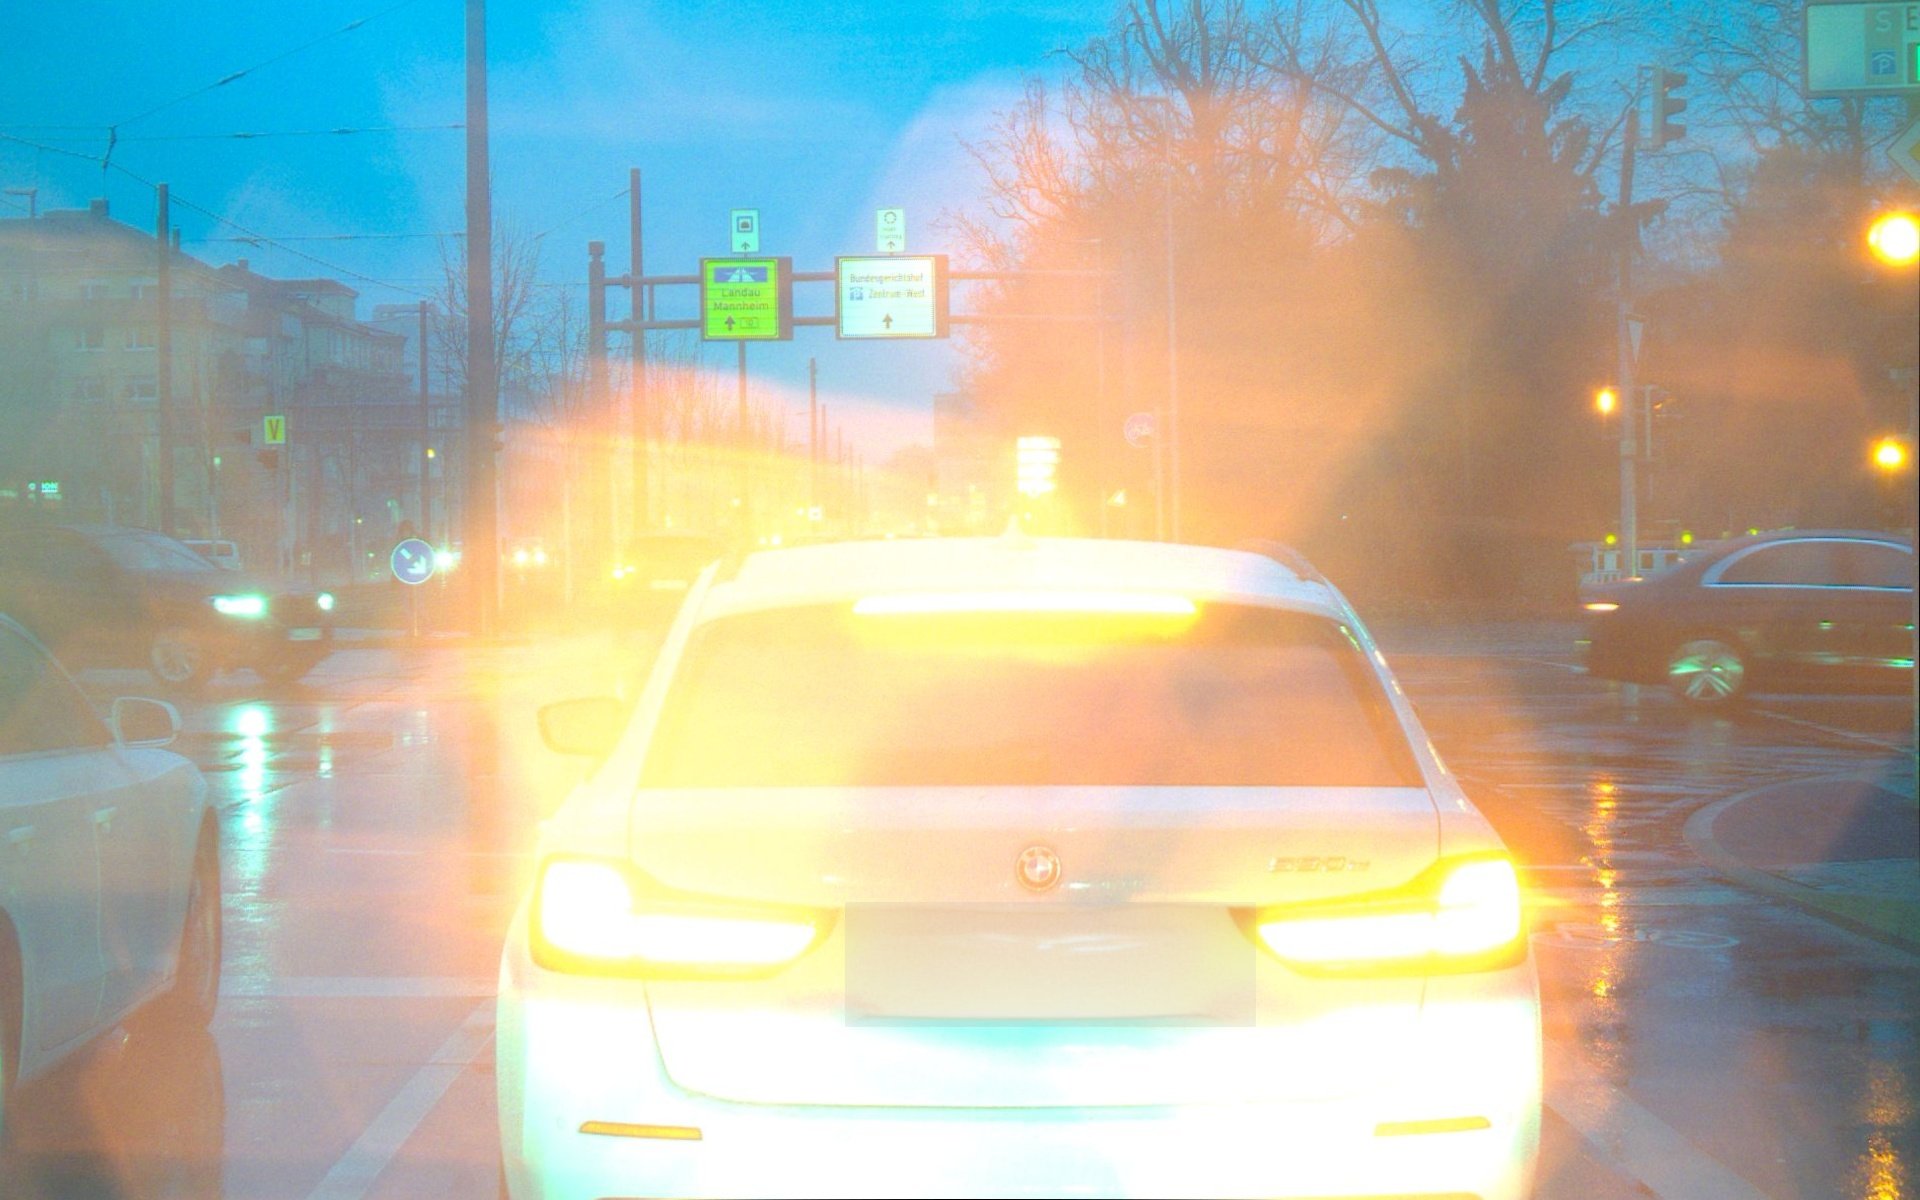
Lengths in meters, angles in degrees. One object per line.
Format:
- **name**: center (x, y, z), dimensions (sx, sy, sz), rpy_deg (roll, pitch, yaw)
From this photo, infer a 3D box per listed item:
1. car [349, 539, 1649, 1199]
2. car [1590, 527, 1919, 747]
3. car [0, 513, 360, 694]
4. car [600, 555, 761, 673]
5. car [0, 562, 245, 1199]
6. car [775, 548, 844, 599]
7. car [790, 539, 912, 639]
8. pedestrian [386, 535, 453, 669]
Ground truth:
- **car**: center (-0.028, 0.611, 7.459), dimensions (1.993, 1.451, 4.369), rpy_deg (0, 1, -3)
- **car**: center (7.582, 0.288, 27.692), dimensions (4.700, 1.714, 1.867), rpy_deg (0, 0, 20)
- **car**: center (-8.504, 0.024, 34.242), dimensions (4.701, 1.714, 1.899), rpy_deg (0, 0, 23)
- **car**: center (-3.999, 0.184, 49.733), dimensions (1.843, 1.603, 3.945), rpy_deg (1, 0, 2)
- **car**: center (-3.124, 0.663, 8.452), dimensions (1.993, 1.451, 4.369), rpy_deg (0, 1, -3)
- **car**: center (-4.522, -0.798, 103.248), dimensions (1.993, 1.451, 4.369), rpy_deg (0, 1, -3)
- **car**: center (-1.877, -0.197, 58.052), dimensions (1.842, 1.603, 3.945), rpy_deg (1, 0, -5)
- **pedestrian**: center (-7.554, 0.022, 48.058), dimensions (0.902, 1.850, 0.812), rpy_deg (1, 0, -9)
